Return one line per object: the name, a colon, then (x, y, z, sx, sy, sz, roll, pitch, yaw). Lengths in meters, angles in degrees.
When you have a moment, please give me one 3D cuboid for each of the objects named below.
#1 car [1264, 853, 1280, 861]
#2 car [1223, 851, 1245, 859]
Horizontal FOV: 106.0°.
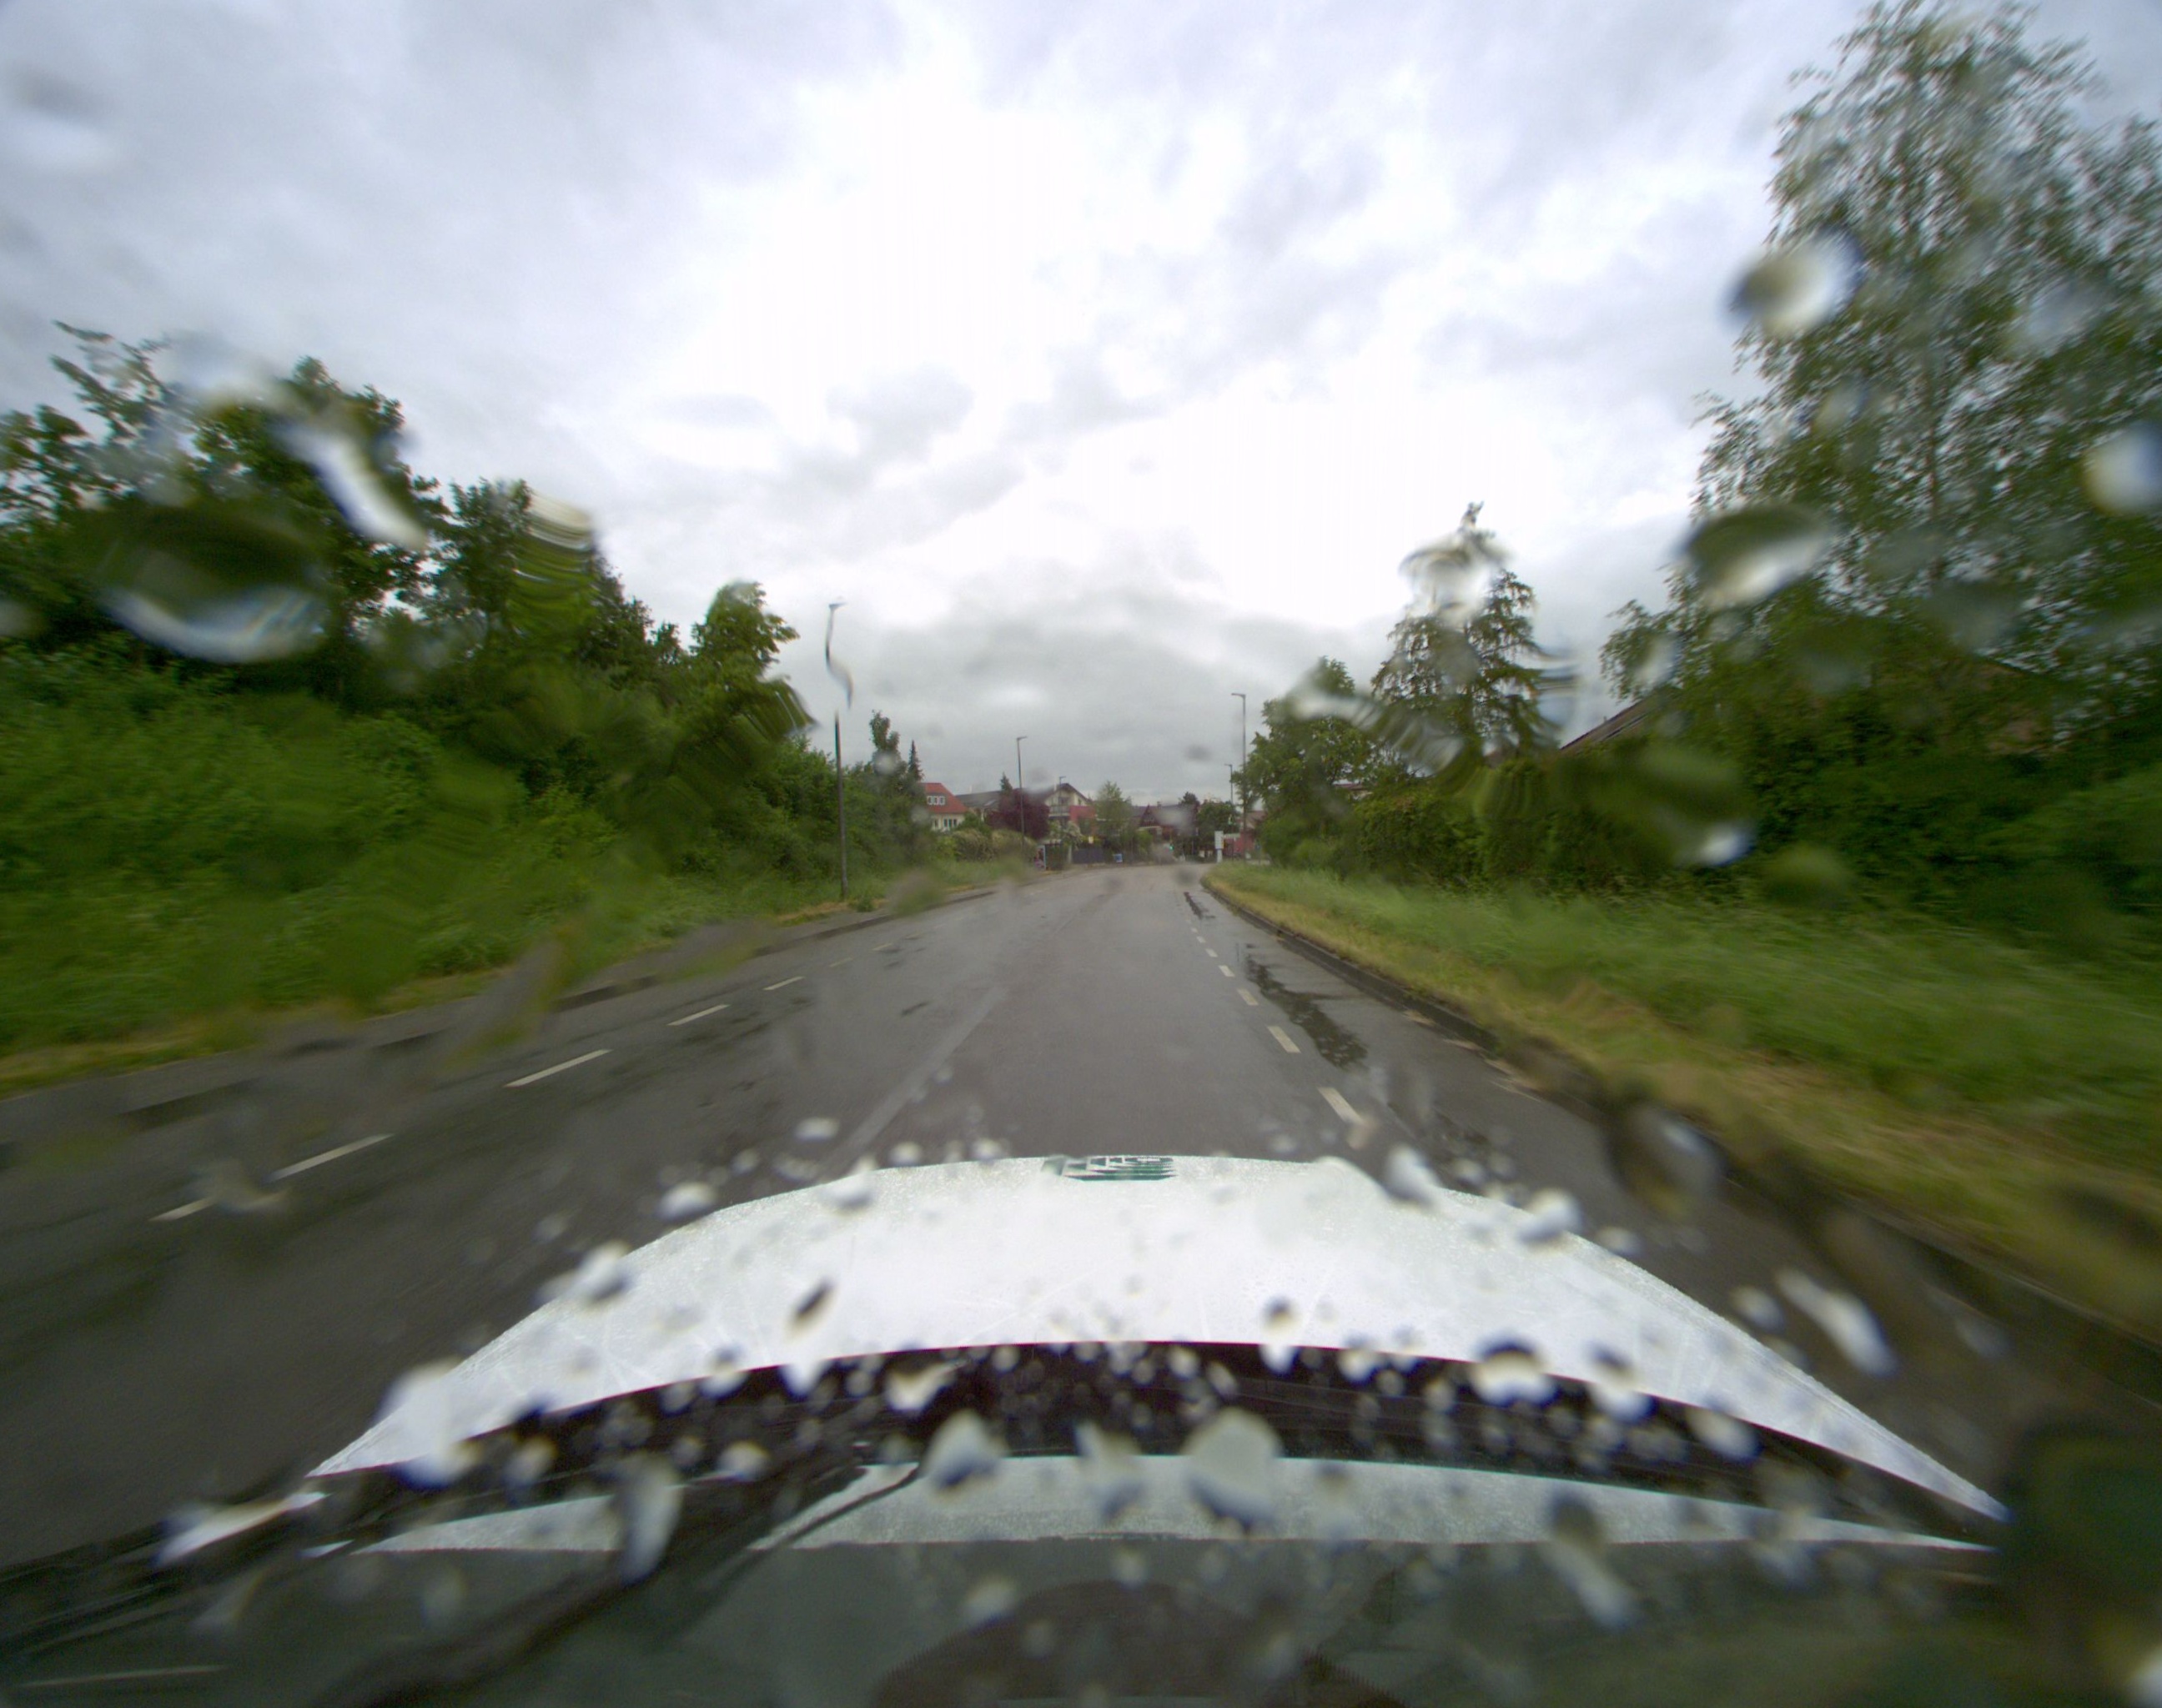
car: (36.630, 0.550, 156.184, 1.611, 1.355, 4.137, 1, 1, 34)
car: (28.014, 0.144, 149.129, 3.541, 1.506, 1.867, 1, 1, 39)
